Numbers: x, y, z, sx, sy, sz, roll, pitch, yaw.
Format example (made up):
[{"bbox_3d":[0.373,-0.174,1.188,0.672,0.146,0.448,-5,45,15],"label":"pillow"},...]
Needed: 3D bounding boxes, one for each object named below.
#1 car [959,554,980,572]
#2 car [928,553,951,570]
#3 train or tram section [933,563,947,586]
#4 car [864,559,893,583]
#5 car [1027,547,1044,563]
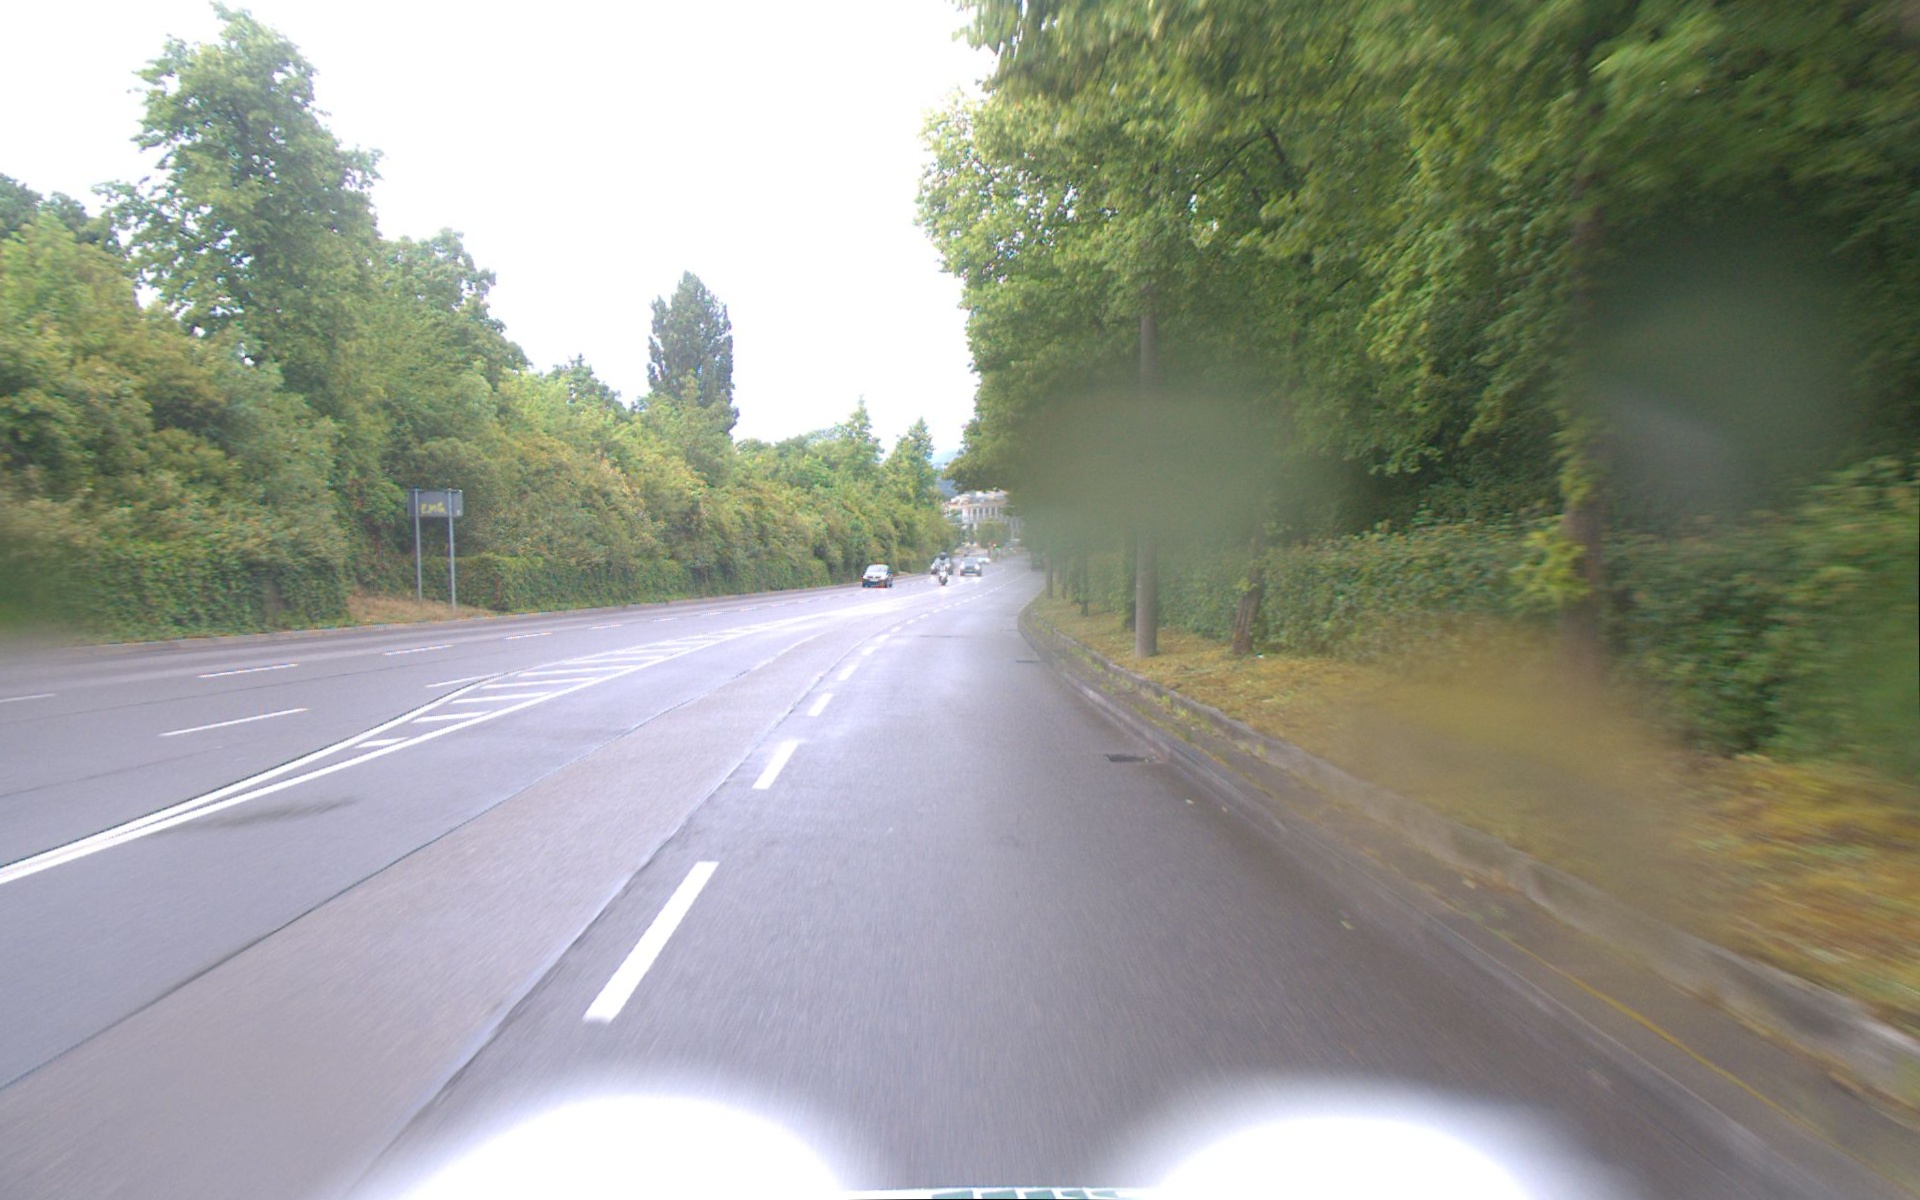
[{"bbox_3d":[0.930,-3.522,158.425,1.774,1.686,4.598,1,1,3],"label":"car"},{"bbox_3d":[-1.980,-3.790,161.284,1.859,1.579,4.633,2,1,4],"label":"car"},{"bbox_3d":[-1.398,-1.809,117.267,0.774,1.597,2.385,2,1,3],"label":"train or tram section"},{"bbox_3d":[-5.255,-1.882,106.991,1.516,1.462,3.698,1,1,3],"label":"car"},{"bbox_3d":[9.029,-5.367,197.776,1.810,1.731,3.796,2,1,6],"label":"car"}]
